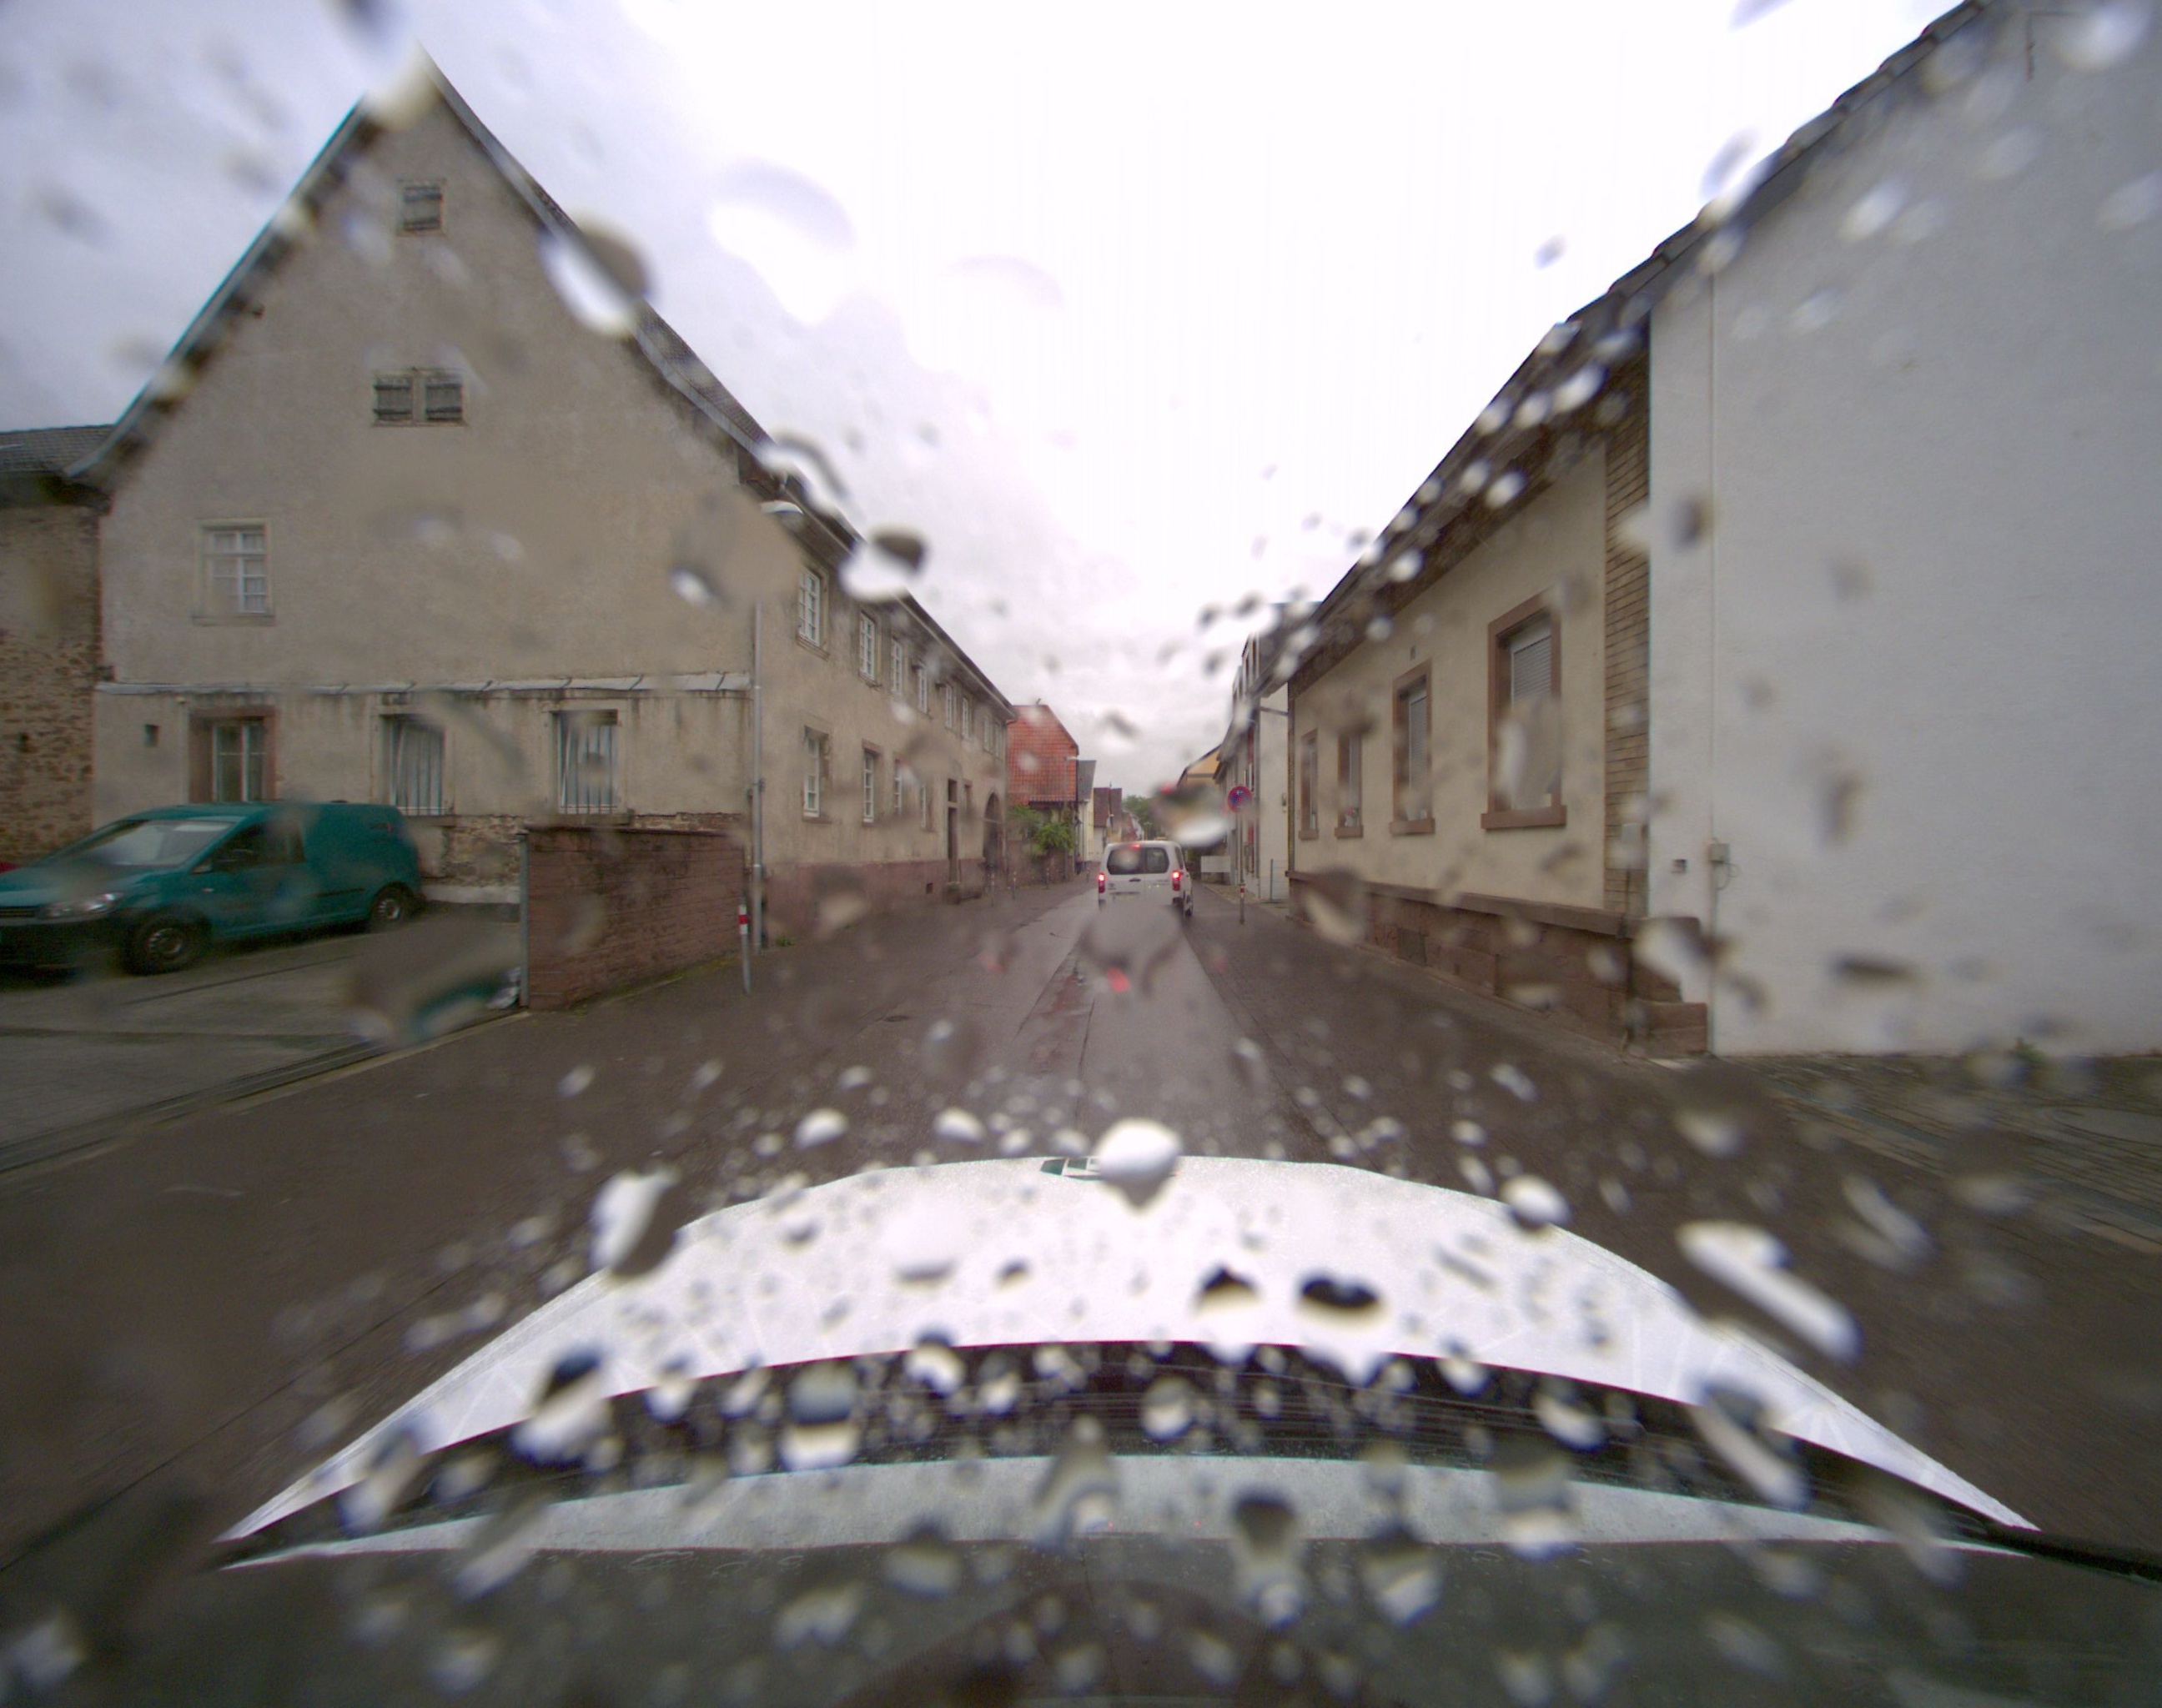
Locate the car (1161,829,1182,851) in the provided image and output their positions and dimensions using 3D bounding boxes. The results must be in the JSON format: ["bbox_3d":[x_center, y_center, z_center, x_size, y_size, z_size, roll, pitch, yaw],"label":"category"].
[{"bbox_3d":[8.571,-1.284,77.279,1.818,2.014,3.698,1,-1,5],"label":"car"}]

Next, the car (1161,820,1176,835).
[{"bbox_3d":[12.476,-3.784,116.258,1.983,2.014,4.007,1,-1,6],"label":"car"}]

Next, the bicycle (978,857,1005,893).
[{"bbox_3d":[-2.979,0.688,27.340,0.480,1.180,1.839,1,-1,7],"label":"bicycle"}]

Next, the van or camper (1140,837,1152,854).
[{"bbox_3d":[11.464,-1.512,143.997,1.826,2.925,5.372,1,-1,6],"label":"van or camper"}]

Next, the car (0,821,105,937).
[{"bbox_3d":[-15.196,0.367,9.871,1.794,1.507,4.003,1,2,2],"label":"car"}]

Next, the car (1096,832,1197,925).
[{"bbox_3d":[1.596,0.511,18.379,1.783,1.819,4.114,-2,-1,11],"label":"car"}]

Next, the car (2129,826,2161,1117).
[{"bbox_3d":[7.542,0.617,3.504,3.887,1.498,1.850,1,-1,-3],"label":"car"}]

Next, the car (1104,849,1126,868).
[{"bbox_3d":[3.663,0.480,86.616,1.882,1.967,4.732,1,-1,7],"label":"car"}]

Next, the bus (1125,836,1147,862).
[{"bbox_3d":[7.750,-0.631,113.424,2.780,3.329,8.188,2,0,5],"label":"bus"}]

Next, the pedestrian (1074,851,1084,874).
[{"bbox_3d":[-0.139,0.571,55.412,0.566,1.530,0.568,-1,-1,-5],"label":"pedestrian"}]

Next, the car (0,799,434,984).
[{"bbox_3d":[-10.373,0.234,9.627,1.980,1.715,4.304,0,3,-1],"label":"car"}]

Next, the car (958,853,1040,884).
[{"bbox_3d":[-3.796,0.663,37.816,3.509,1.376,1.598,0,0,7],"label":"car"}]
